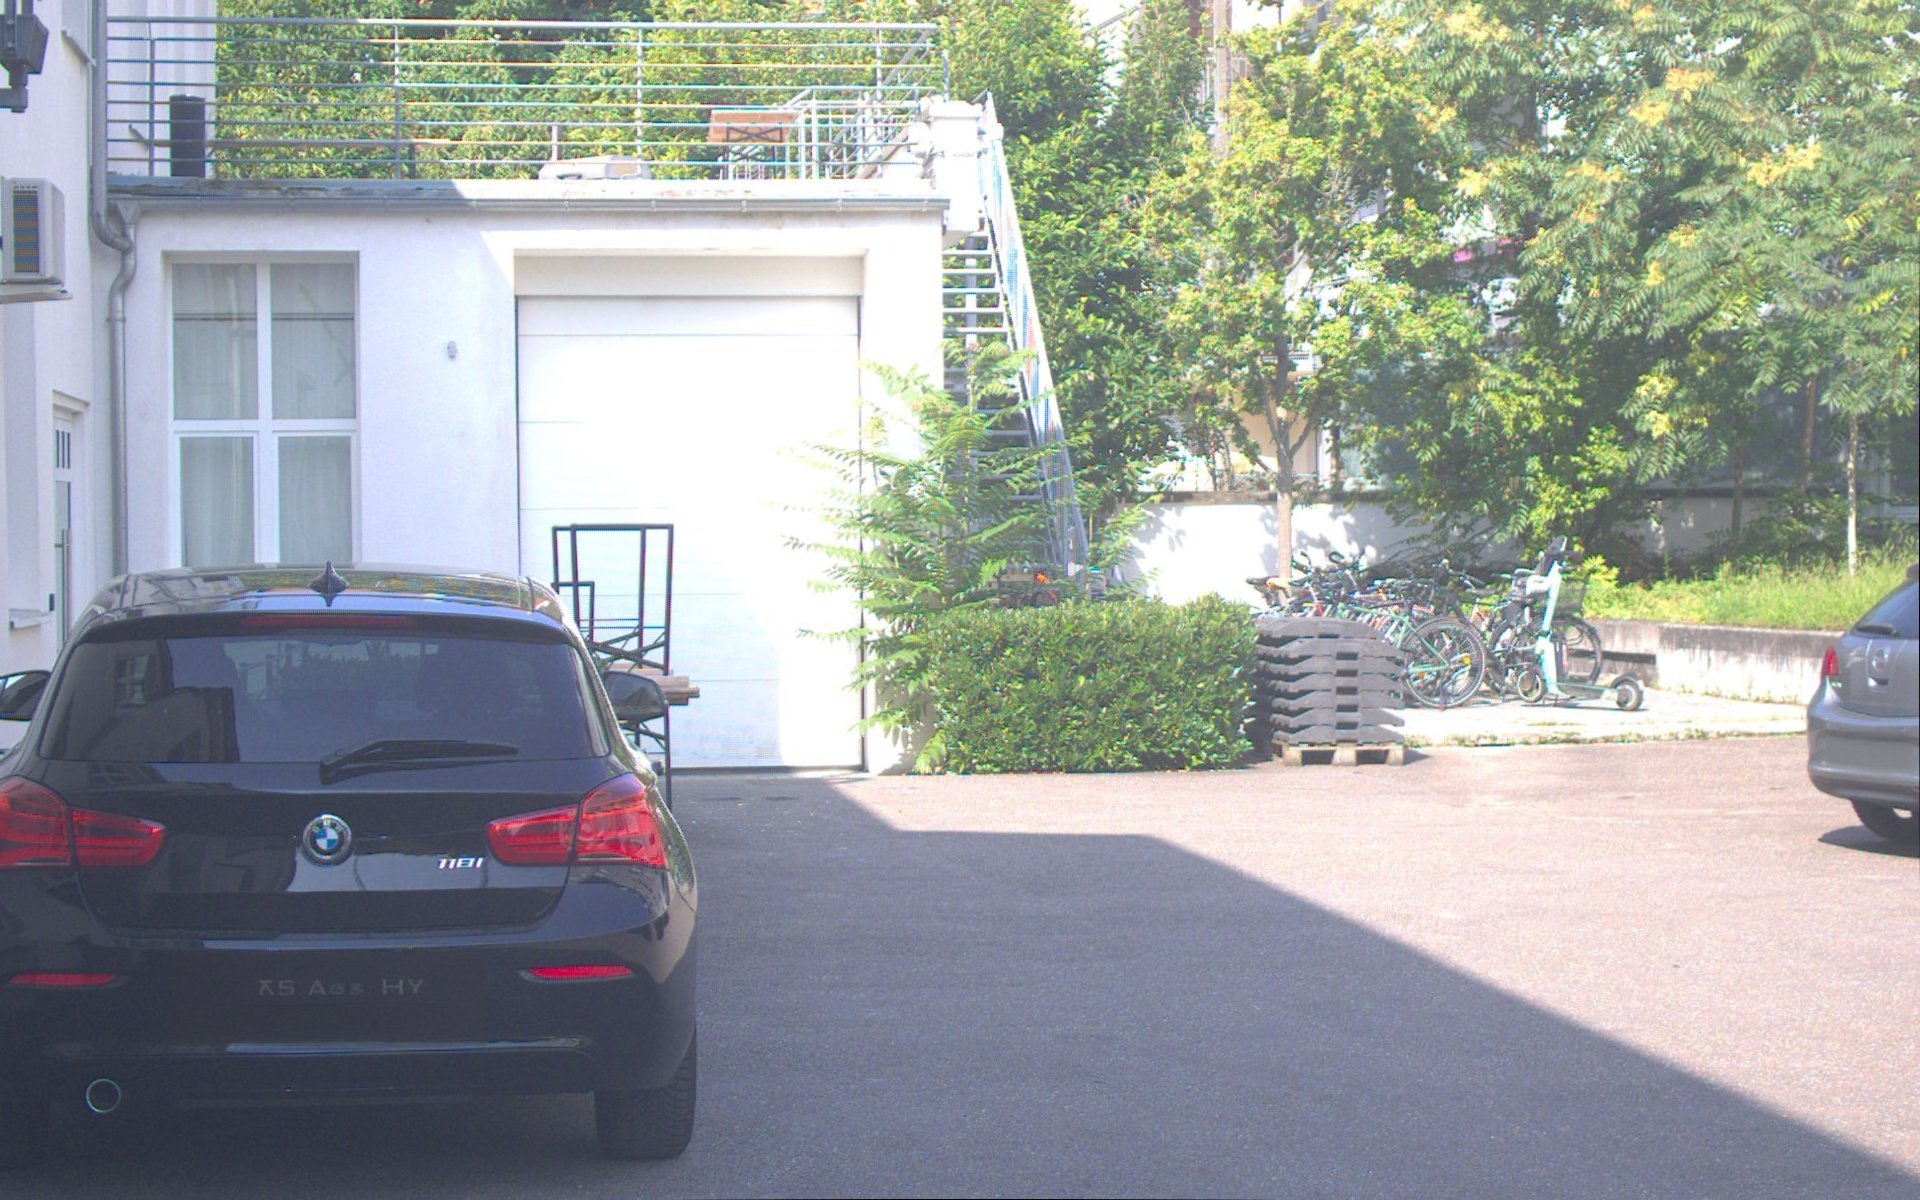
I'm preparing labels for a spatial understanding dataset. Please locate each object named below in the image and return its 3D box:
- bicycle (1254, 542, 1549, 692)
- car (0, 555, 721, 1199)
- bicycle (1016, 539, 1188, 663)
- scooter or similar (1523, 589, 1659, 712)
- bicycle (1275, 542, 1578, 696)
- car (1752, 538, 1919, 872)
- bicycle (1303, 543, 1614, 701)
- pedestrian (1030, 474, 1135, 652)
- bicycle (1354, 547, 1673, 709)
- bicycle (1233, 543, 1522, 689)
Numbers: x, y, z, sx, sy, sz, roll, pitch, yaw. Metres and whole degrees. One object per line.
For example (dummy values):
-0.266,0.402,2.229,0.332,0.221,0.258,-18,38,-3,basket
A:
3.718,0.135,28.981,2.410,1.242,0.526,0,1,-8,bicycle
-1.785,0.614,9.394,1.792,1.423,4.137,0,1,-11,car
1.430,-0.003,34.303,0.489,1.140,1.989,1,3,44,bicycle
4.888,0.382,26.665,0.999,0.921,0.359,1,2,45,scooter or similar
3.844,0.151,28.357,2.410,1.242,0.526,0,1,-8,bicycle
5.910,0.422,16.364,3.895,1.461,1.663,-1,2,-21,car
3.993,0.169,27.580,2.410,1.242,0.526,0,1,-8,bicycle
1.225,-0.379,34.518,0.860,1.765,0.609,1,2,44,pedestrian
4.335,0.213,26.964,2.410,1.242,0.526,0,1,-8,bicycle
3.598,0.133,29.675,2.410,1.242,0.526,0,1,-8,bicycle
